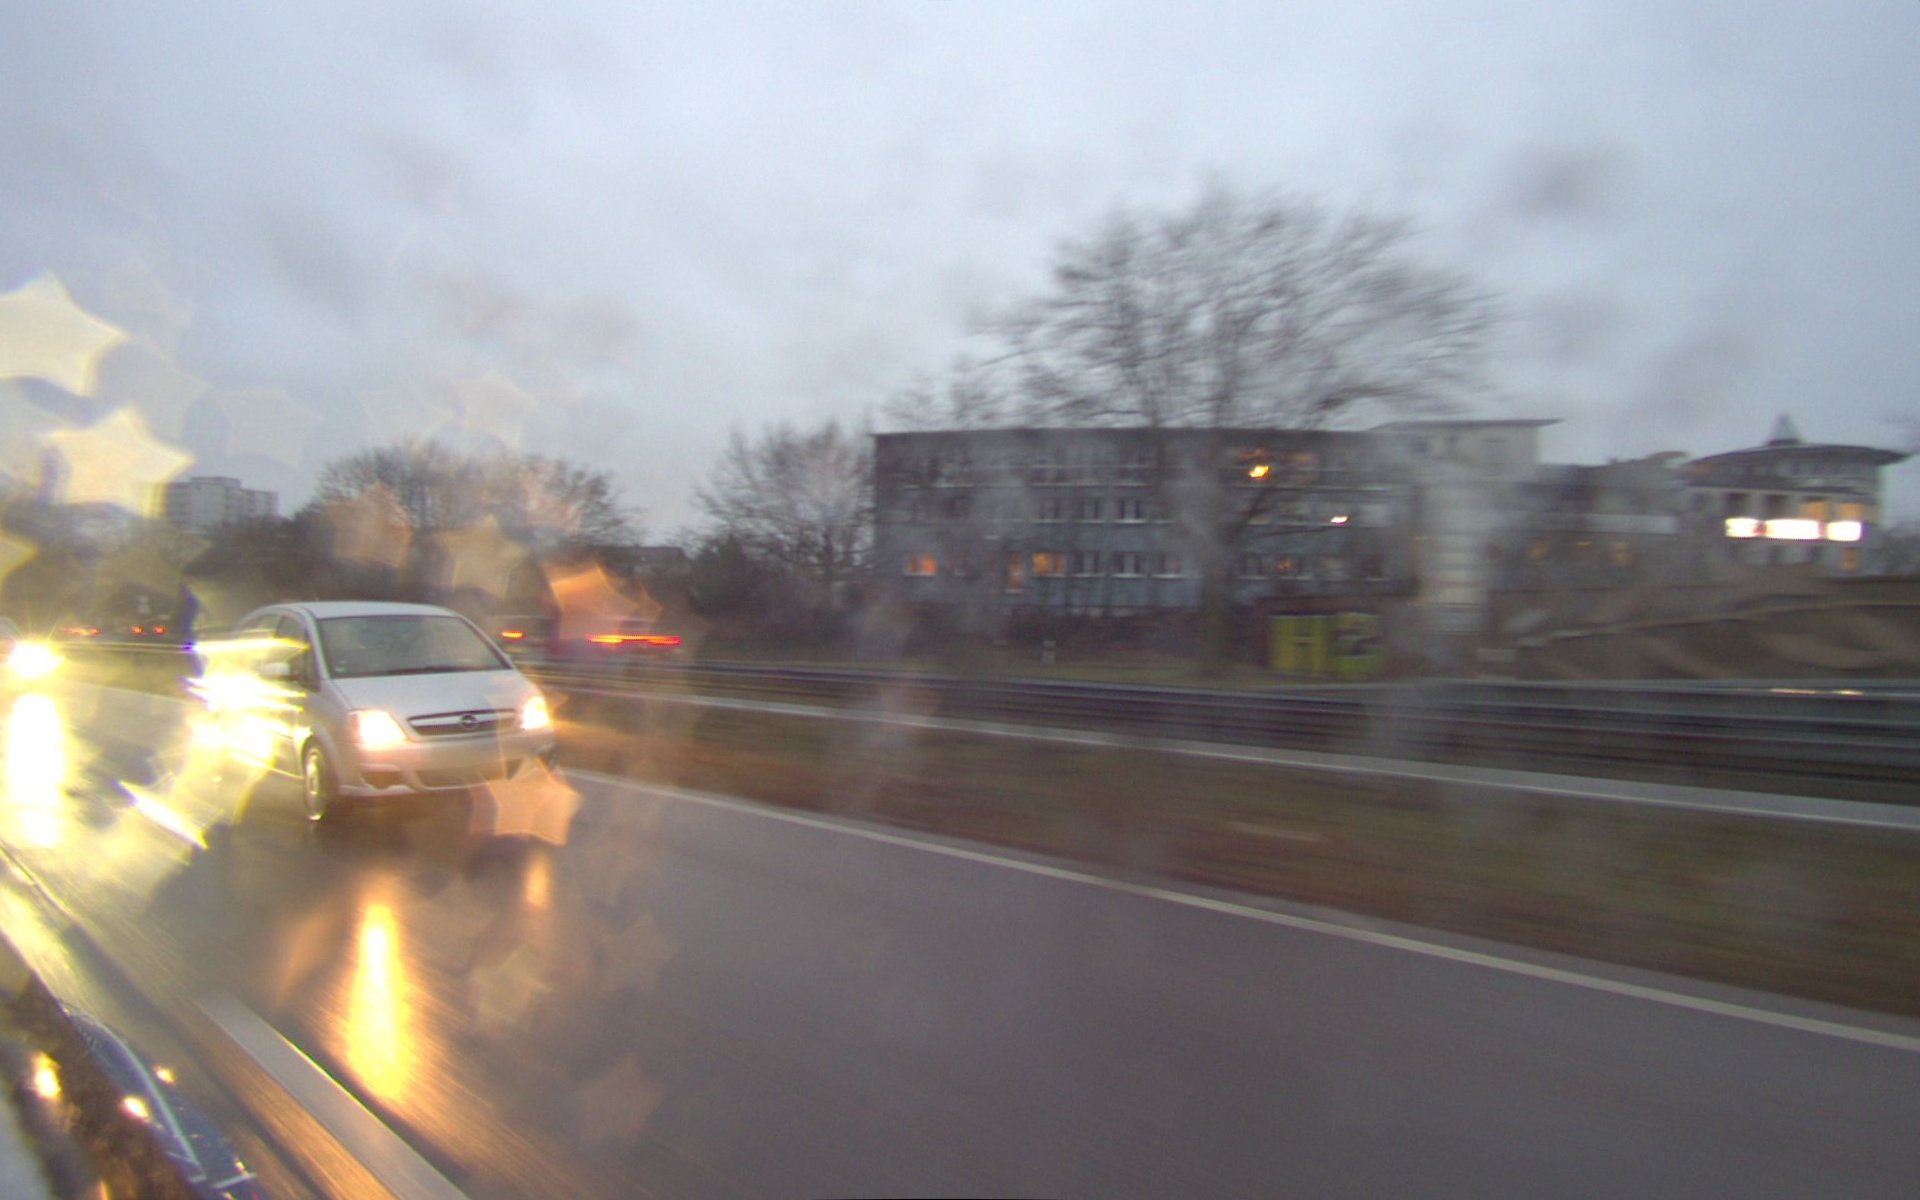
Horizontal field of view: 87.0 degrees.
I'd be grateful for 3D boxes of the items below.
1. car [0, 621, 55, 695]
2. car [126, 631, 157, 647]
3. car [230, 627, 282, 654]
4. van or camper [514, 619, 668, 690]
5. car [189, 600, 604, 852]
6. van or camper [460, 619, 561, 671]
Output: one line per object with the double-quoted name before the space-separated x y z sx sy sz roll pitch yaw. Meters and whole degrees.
"car" -21.706 1.236 22.272 4.141 1.542 2.002 -1 -1 39
"car" -84.650 4.007 104.694 4.681 1.621 1.764 -1 -1 42
"car" -43.684 2.489 62.774 4.051 1.545 1.765 -1 -1 42
"van or camper" -8.791 1.216 23.910 4.432 1.493 1.511 -1 0 42
"car" -4.882 0.839 8.517 4.163 1.611 1.743 -1 -1 41
"van or camper" -16.343 1.585 36.668 1.741 1.749 4.886 0 -1 -45
